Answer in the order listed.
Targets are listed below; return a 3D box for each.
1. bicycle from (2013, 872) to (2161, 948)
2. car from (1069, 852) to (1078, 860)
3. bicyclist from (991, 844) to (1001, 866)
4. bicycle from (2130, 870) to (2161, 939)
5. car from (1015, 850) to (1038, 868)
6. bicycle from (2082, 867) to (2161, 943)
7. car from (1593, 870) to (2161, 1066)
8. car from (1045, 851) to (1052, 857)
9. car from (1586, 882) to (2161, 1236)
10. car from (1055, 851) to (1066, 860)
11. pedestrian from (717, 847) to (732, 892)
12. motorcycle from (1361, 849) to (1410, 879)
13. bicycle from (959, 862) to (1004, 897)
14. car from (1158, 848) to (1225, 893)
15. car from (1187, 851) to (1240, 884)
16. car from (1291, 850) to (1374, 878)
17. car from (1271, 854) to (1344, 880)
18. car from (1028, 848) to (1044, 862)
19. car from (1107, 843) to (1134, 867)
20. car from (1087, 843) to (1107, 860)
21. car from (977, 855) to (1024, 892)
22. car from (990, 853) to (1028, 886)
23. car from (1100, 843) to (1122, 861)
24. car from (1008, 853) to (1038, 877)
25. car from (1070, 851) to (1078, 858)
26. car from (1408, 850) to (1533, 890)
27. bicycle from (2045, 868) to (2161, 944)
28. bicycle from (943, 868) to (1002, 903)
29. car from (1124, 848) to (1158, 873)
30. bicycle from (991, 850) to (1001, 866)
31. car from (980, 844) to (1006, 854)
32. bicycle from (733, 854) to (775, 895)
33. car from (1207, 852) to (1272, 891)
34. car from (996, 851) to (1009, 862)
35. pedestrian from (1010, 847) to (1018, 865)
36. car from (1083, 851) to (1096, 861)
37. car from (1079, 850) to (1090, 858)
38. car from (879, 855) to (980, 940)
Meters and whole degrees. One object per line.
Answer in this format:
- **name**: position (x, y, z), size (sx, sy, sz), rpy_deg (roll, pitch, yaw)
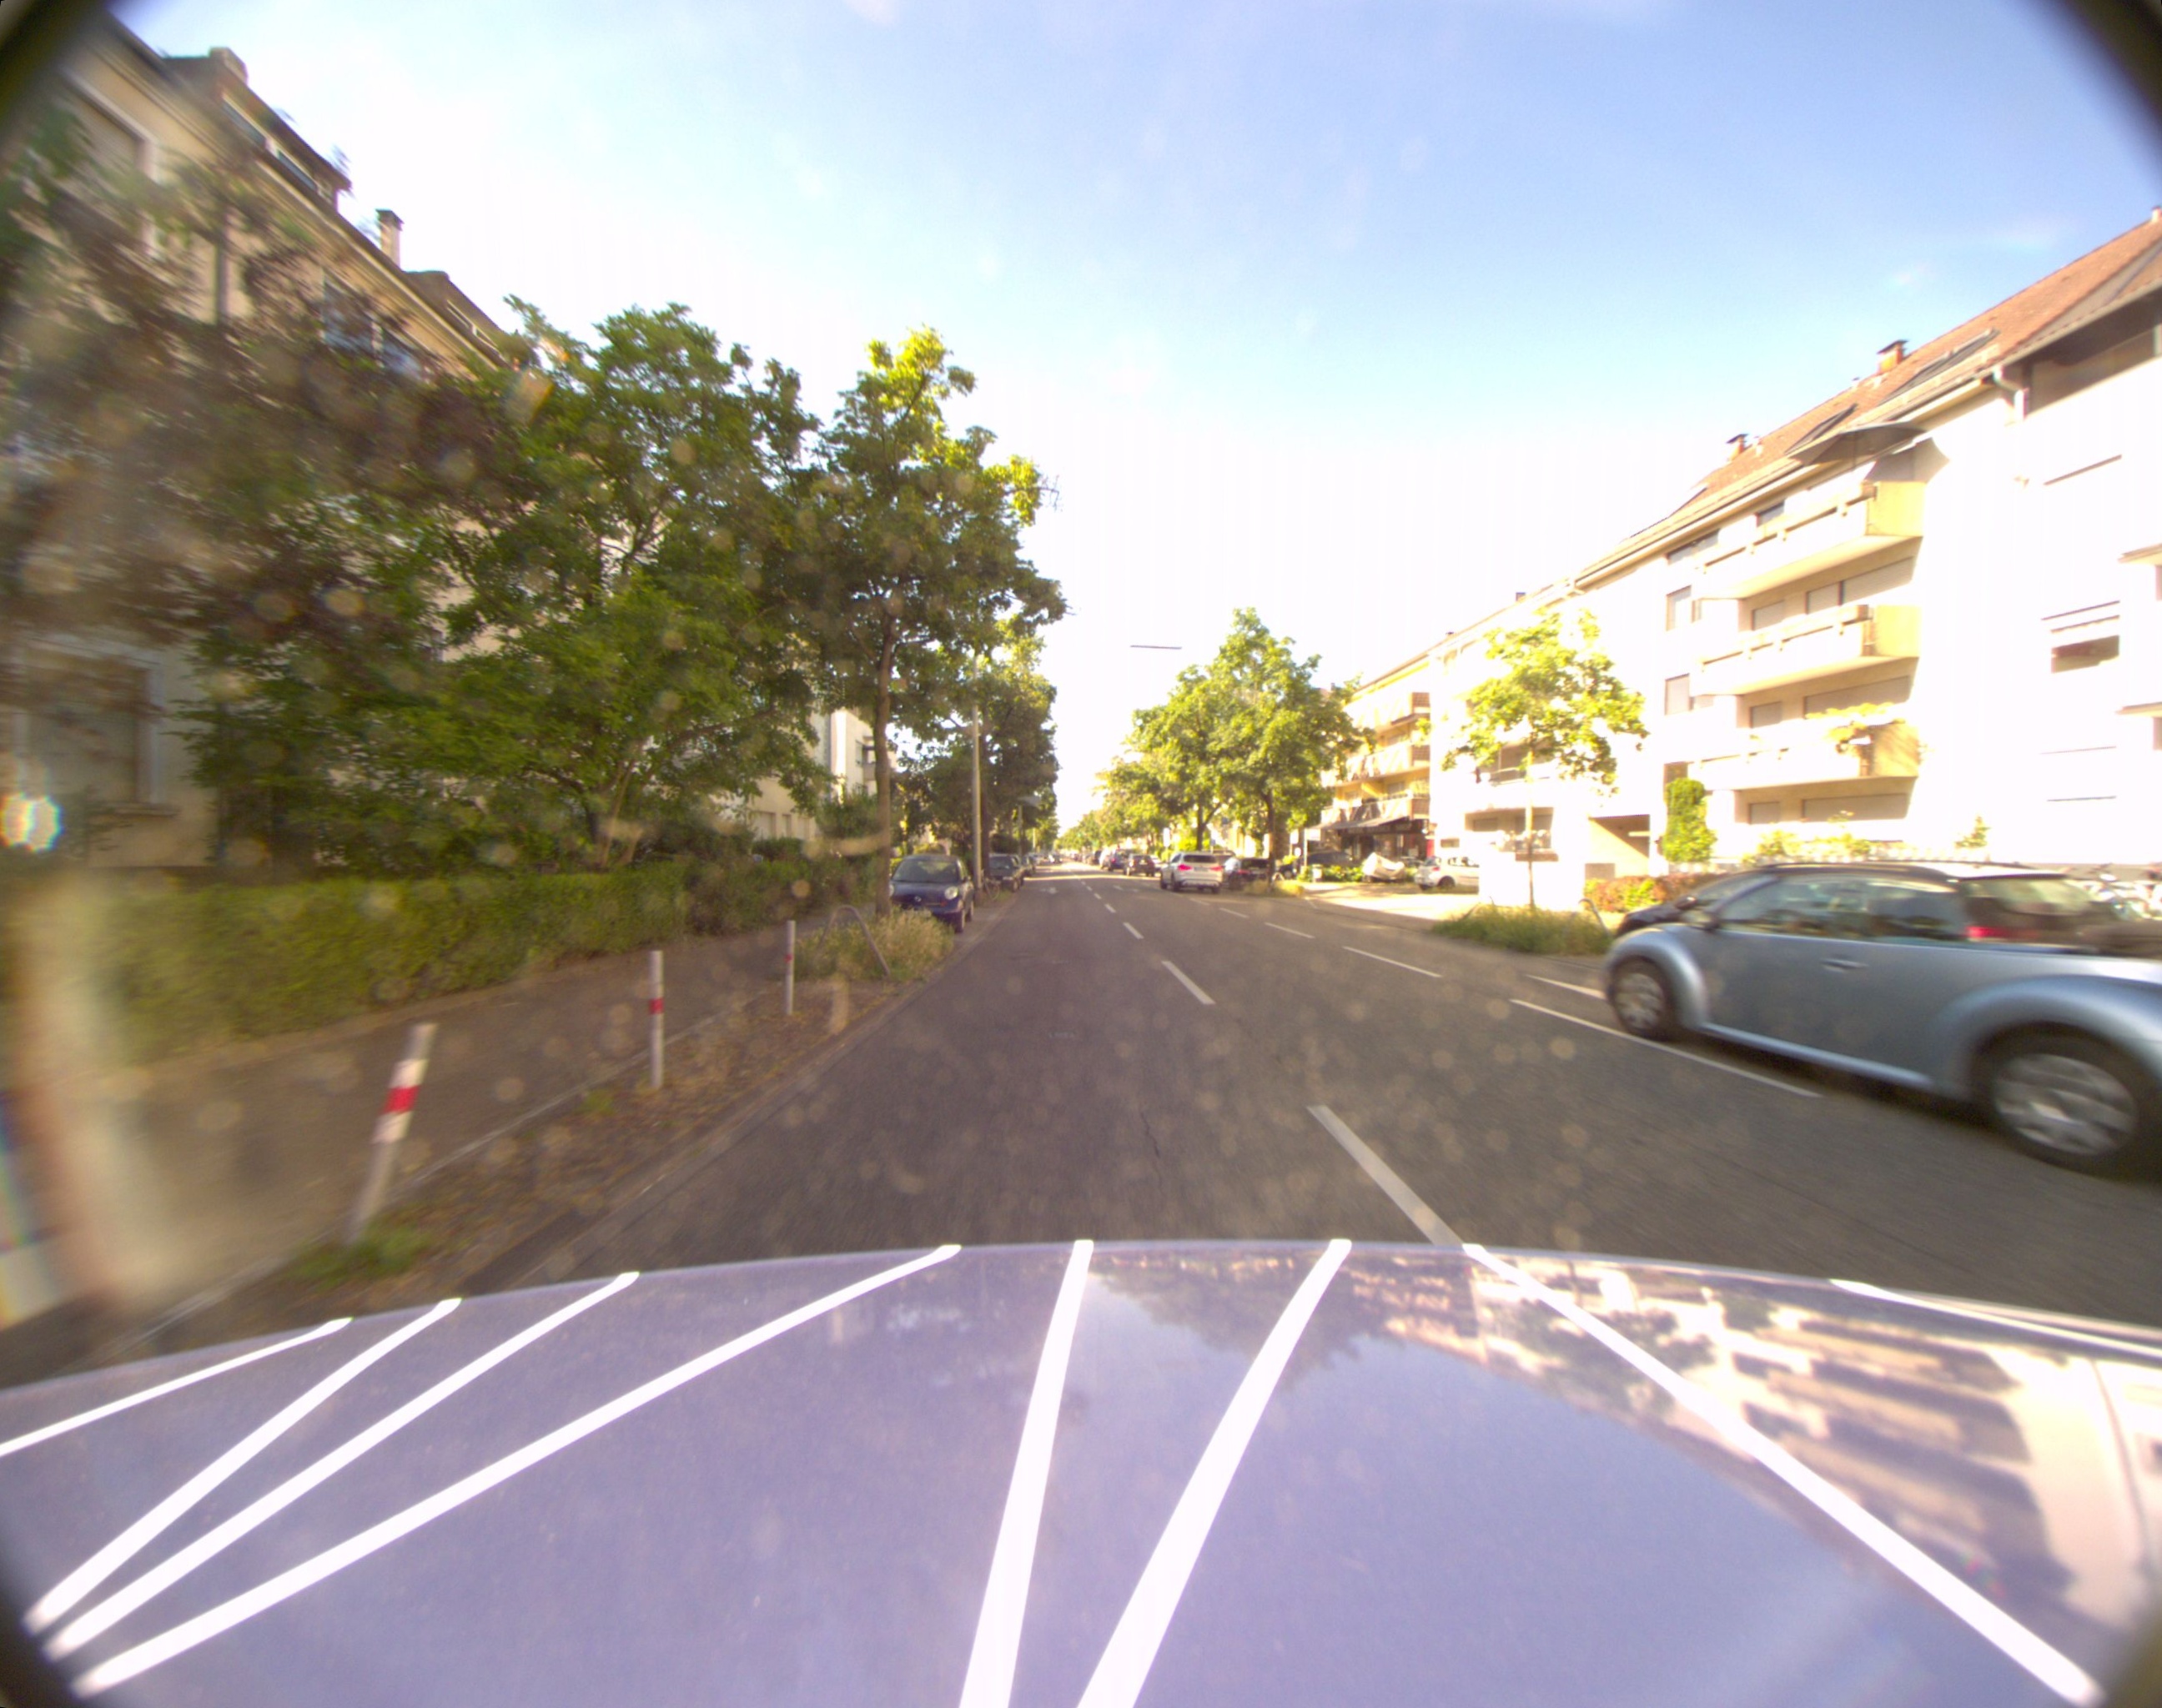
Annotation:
- **bicycle**: position (14.574, 0.768, 10.924), size (0.400, 0.977, 1.548), rpy_deg (1, 0, -2)
- **car**: position (-1.492, 0.368, 153.018), size (1.586, 1.443, 3.743), rpy_deg (1, 0, -4)
- **bicyclist**: position (-7.157, 0.070, 63.994), size (0.726, 1.783, 1.015), rpy_deg (1, 1, -2)
- **bicycle**: position (16.960, 0.791, 11.327), size (0.449, 1.057, 1.548), rpy_deg (1, 0, -2)
- **car**: position (-4.291, 0.382, 60.725), size (1.590, 1.388, 4.453), rpy_deg (2, 0, -1)
- **bicycle**: position (16.211, 0.763, 11.334), size (0.449, 1.105, 1.548), rpy_deg (1, 0, -2)
- **car**: position (8.166, 0.967, 8.417), size (1.790, 1.484, 4.491), rpy_deg (0, 0, -3)
- **car**: position (-8.268, -0.032, 195.211), size (1.823, 1.542, 4.303), rpy_deg (0, 1, -2)
- **car**: position (5.375, 0.948, 4.677), size (1.742, 1.373, 3.935), rpy_deg (2, 0, -3)
- **car**: position (-3.065, 0.177, 115.672), size (1.654, 1.348, 4.303), rpy_deg (0, 0, -2)
- **pedestrian**: position (-13.799, 0.585, 29.415), size (0.365, 1.727, 0.366), rpy_deg (-3, 1, -8)
- **motorcycle**: position (15.242, 0.508, 38.096), size (2.154, 1.477, 0.781), rpy_deg (-1, 0, 7)
- **bicycle**: position (-3.645, 0.917, 28.014), size (1.671, 1.230, 0.470), rpy_deg (0, 1, -41)
- **car**: position (4.437, 0.617, 31.263), size (1.811, 1.638, 4.671), rpy_deg (2, 0, -3)
- **car**: position (6.836, 0.637, 39.520), size (1.727, 1.587, 4.134), rpy_deg (-1, 1, -4)
- **car**: position (13.473, 0.523, 40.861), size (3.995, 1.452, 1.734), rpy_deg (-1, 0, 7)
- **car**: position (13.056, 0.722, 43.912), size (3.992, 1.447, 1.735), rpy_deg (-1, 0, 16)
- **car**: position (-5.516, 0.129, 93.112), size (1.774, 1.649, 4.339), rpy_deg (1, 0, -4)
- **car**: position (3.361, 0.064, 65.220), size (1.808, 1.900, 4.710), rpy_deg (3, 0, -2)
- **car**: position (1.957, -0.287, 93.793), size (2.022, 1.940, 5.176), rpy_deg (2, 0, -3)
- **car**: position (-3.295, 0.766, 31.647), size (1.616, 1.375, 3.975), rpy_deg (1, 0, -1)
- **car**: position (-3.502, 0.715, 37.551), size (1.719, 1.481, 4.232), rpy_deg (1, 0, -4)
- **car**: position (3.000, -0.203, 77.606), size (1.821, 1.733, 4.491), rpy_deg (2, 0, -3)
- **car**: position (-3.784, 0.690, 50.126), size (1.696, 1.419, 4.146), rpy_deg (1, 0, -1)
- **car**: position (-1.576, 0.072, 170.440), size (1.586, 1.443, 3.743), rpy_deg (1, 0, -4)
- **car**: position (15.330, 0.608, 30.040), size (3.998, 1.478, 1.880), rpy_deg (-1, 0, -3)
- **bicycle**: position (15.483, 0.754, 11.235), size (0.421, 1.047, 1.548), rpy_deg (1, 0, -2)
- **bicycle**: position (-3.459, 0.995, 24.229), size (1.743, 1.016, 0.524), rpy_deg (2, 3, 5)
- **car**: position (4.040, 0.414, 51.536), size (1.724, 1.557, 4.341), rpy_deg (3, 0, -3)
- **bicycle**: position (-7.158, 0.331, 63.979), size (0.700, 1.239, 1.821), rpy_deg (1, 0, -2)
- **car**: position (-14.463, -0.809, 125.349), size (3.998, 1.432, 1.830), rpy_deg (3, 1, -2)
- **bicycle**: position (-10.986, 0.657, 25.605), size (0.624, 1.280, 1.842), rpy_deg (3, 0, -2)
- **car**: position (6.936, 0.708, 33.617), size (1.727, 1.527, 4.678), rpy_deg (-1, 1, -2)
- **car**: position (-10.777, 0.358, 104.888), size (1.536, 1.348, 3.716), rpy_deg (3, 0, -2)
- **pedestrian**: position (-6.226, 0.215, 70.432), size (0.671, 1.672, 0.775), rpy_deg (1, 1, -2)
- **car**: position (1.244, 0.295, 111.652), size (1.738, 1.404, 4.191), rpy_deg (2, 0, -2)
- **car**: position (0.571, -0.030, 130.947), size (1.586, 1.443, 3.743), rpy_deg (1, 0, -5)
- **car**: position (-3.066, 0.808, 15.980), size (1.564, 1.506, 3.653), rpy_deg (2, 0, -4)
